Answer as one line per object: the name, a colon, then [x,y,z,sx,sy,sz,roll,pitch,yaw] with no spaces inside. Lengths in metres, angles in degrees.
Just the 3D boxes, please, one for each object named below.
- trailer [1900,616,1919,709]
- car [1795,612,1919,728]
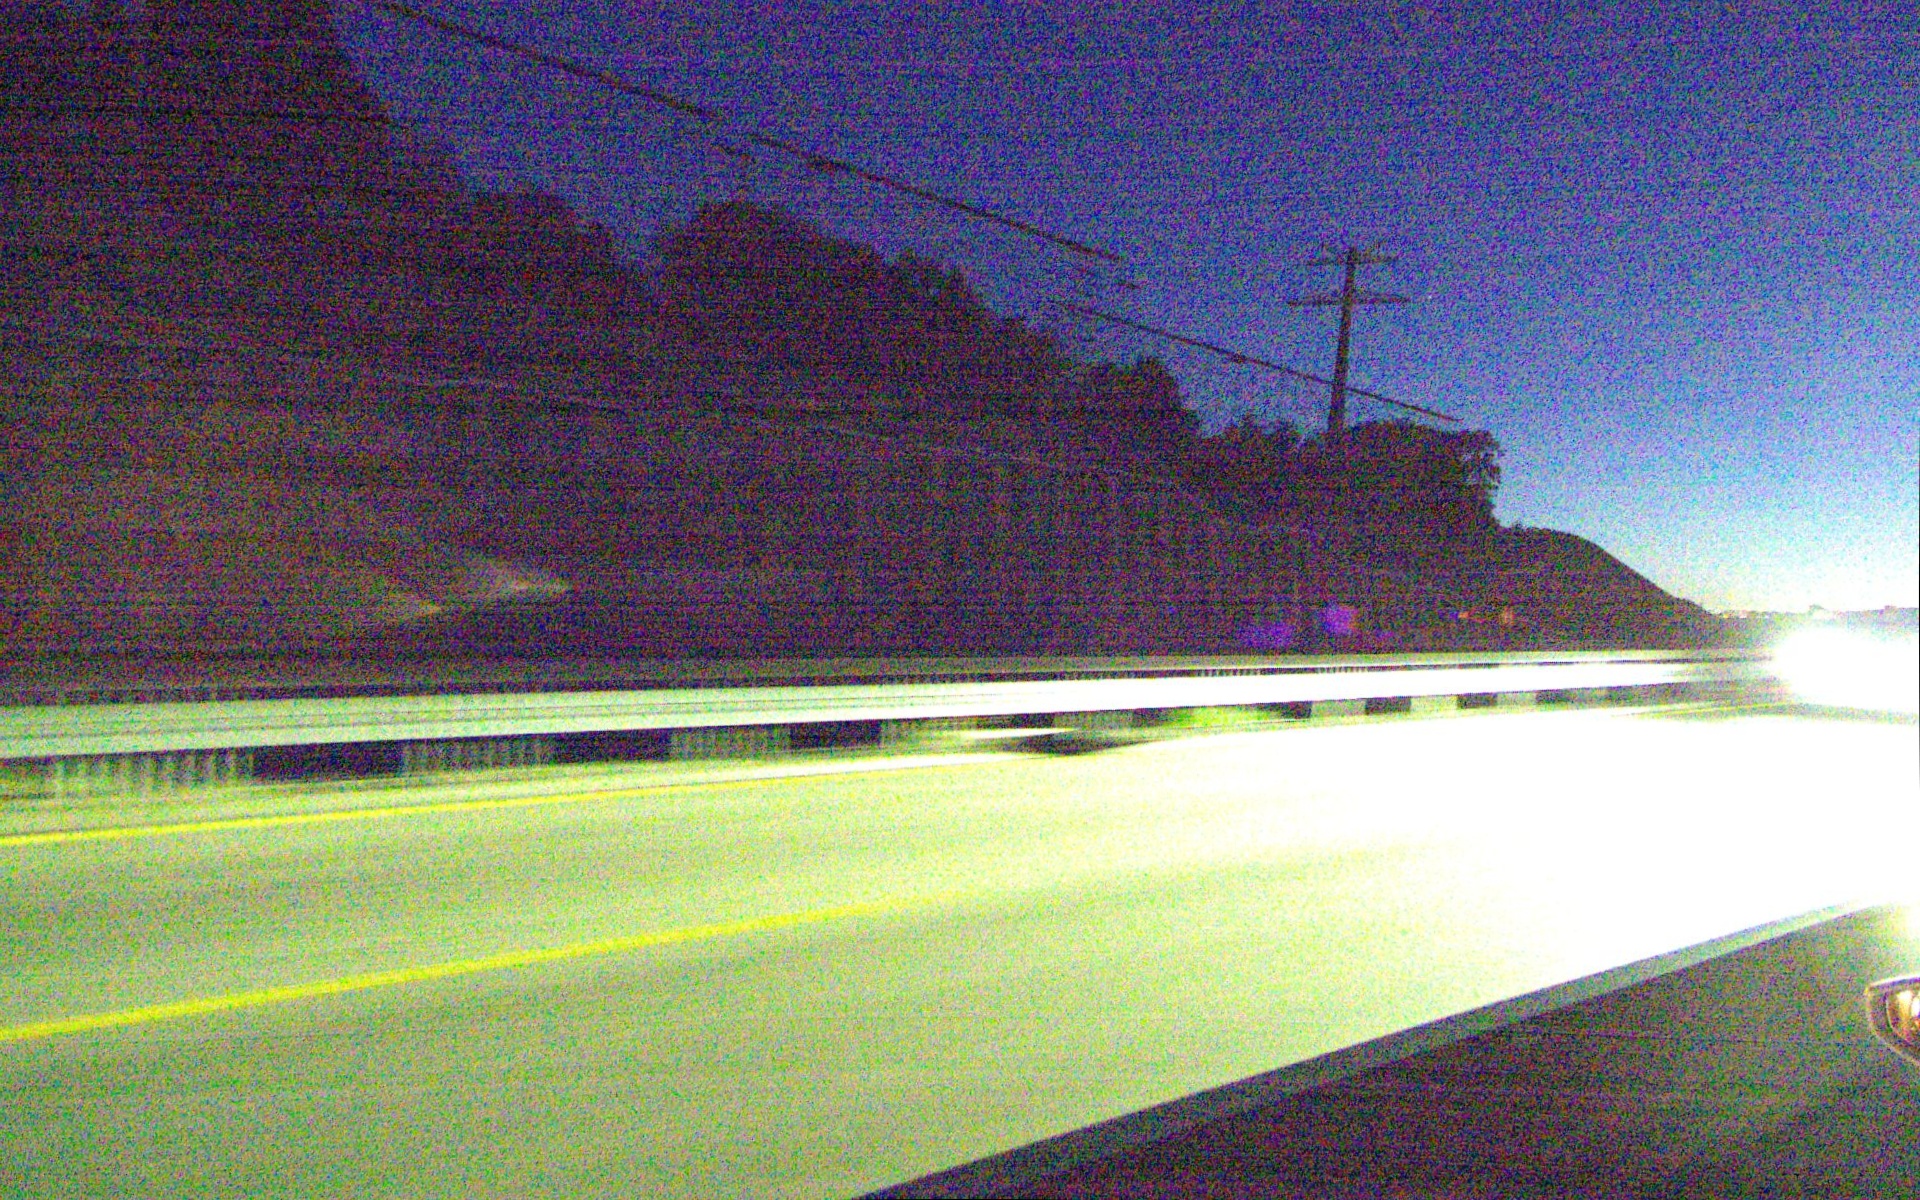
trailer: [19.093,1.182,18.377,3.380,1.661,2.002,2,-1,-32]
car: [15.638,1.103,16.183,4.810,1.661,2.002,2,-1,-33]
